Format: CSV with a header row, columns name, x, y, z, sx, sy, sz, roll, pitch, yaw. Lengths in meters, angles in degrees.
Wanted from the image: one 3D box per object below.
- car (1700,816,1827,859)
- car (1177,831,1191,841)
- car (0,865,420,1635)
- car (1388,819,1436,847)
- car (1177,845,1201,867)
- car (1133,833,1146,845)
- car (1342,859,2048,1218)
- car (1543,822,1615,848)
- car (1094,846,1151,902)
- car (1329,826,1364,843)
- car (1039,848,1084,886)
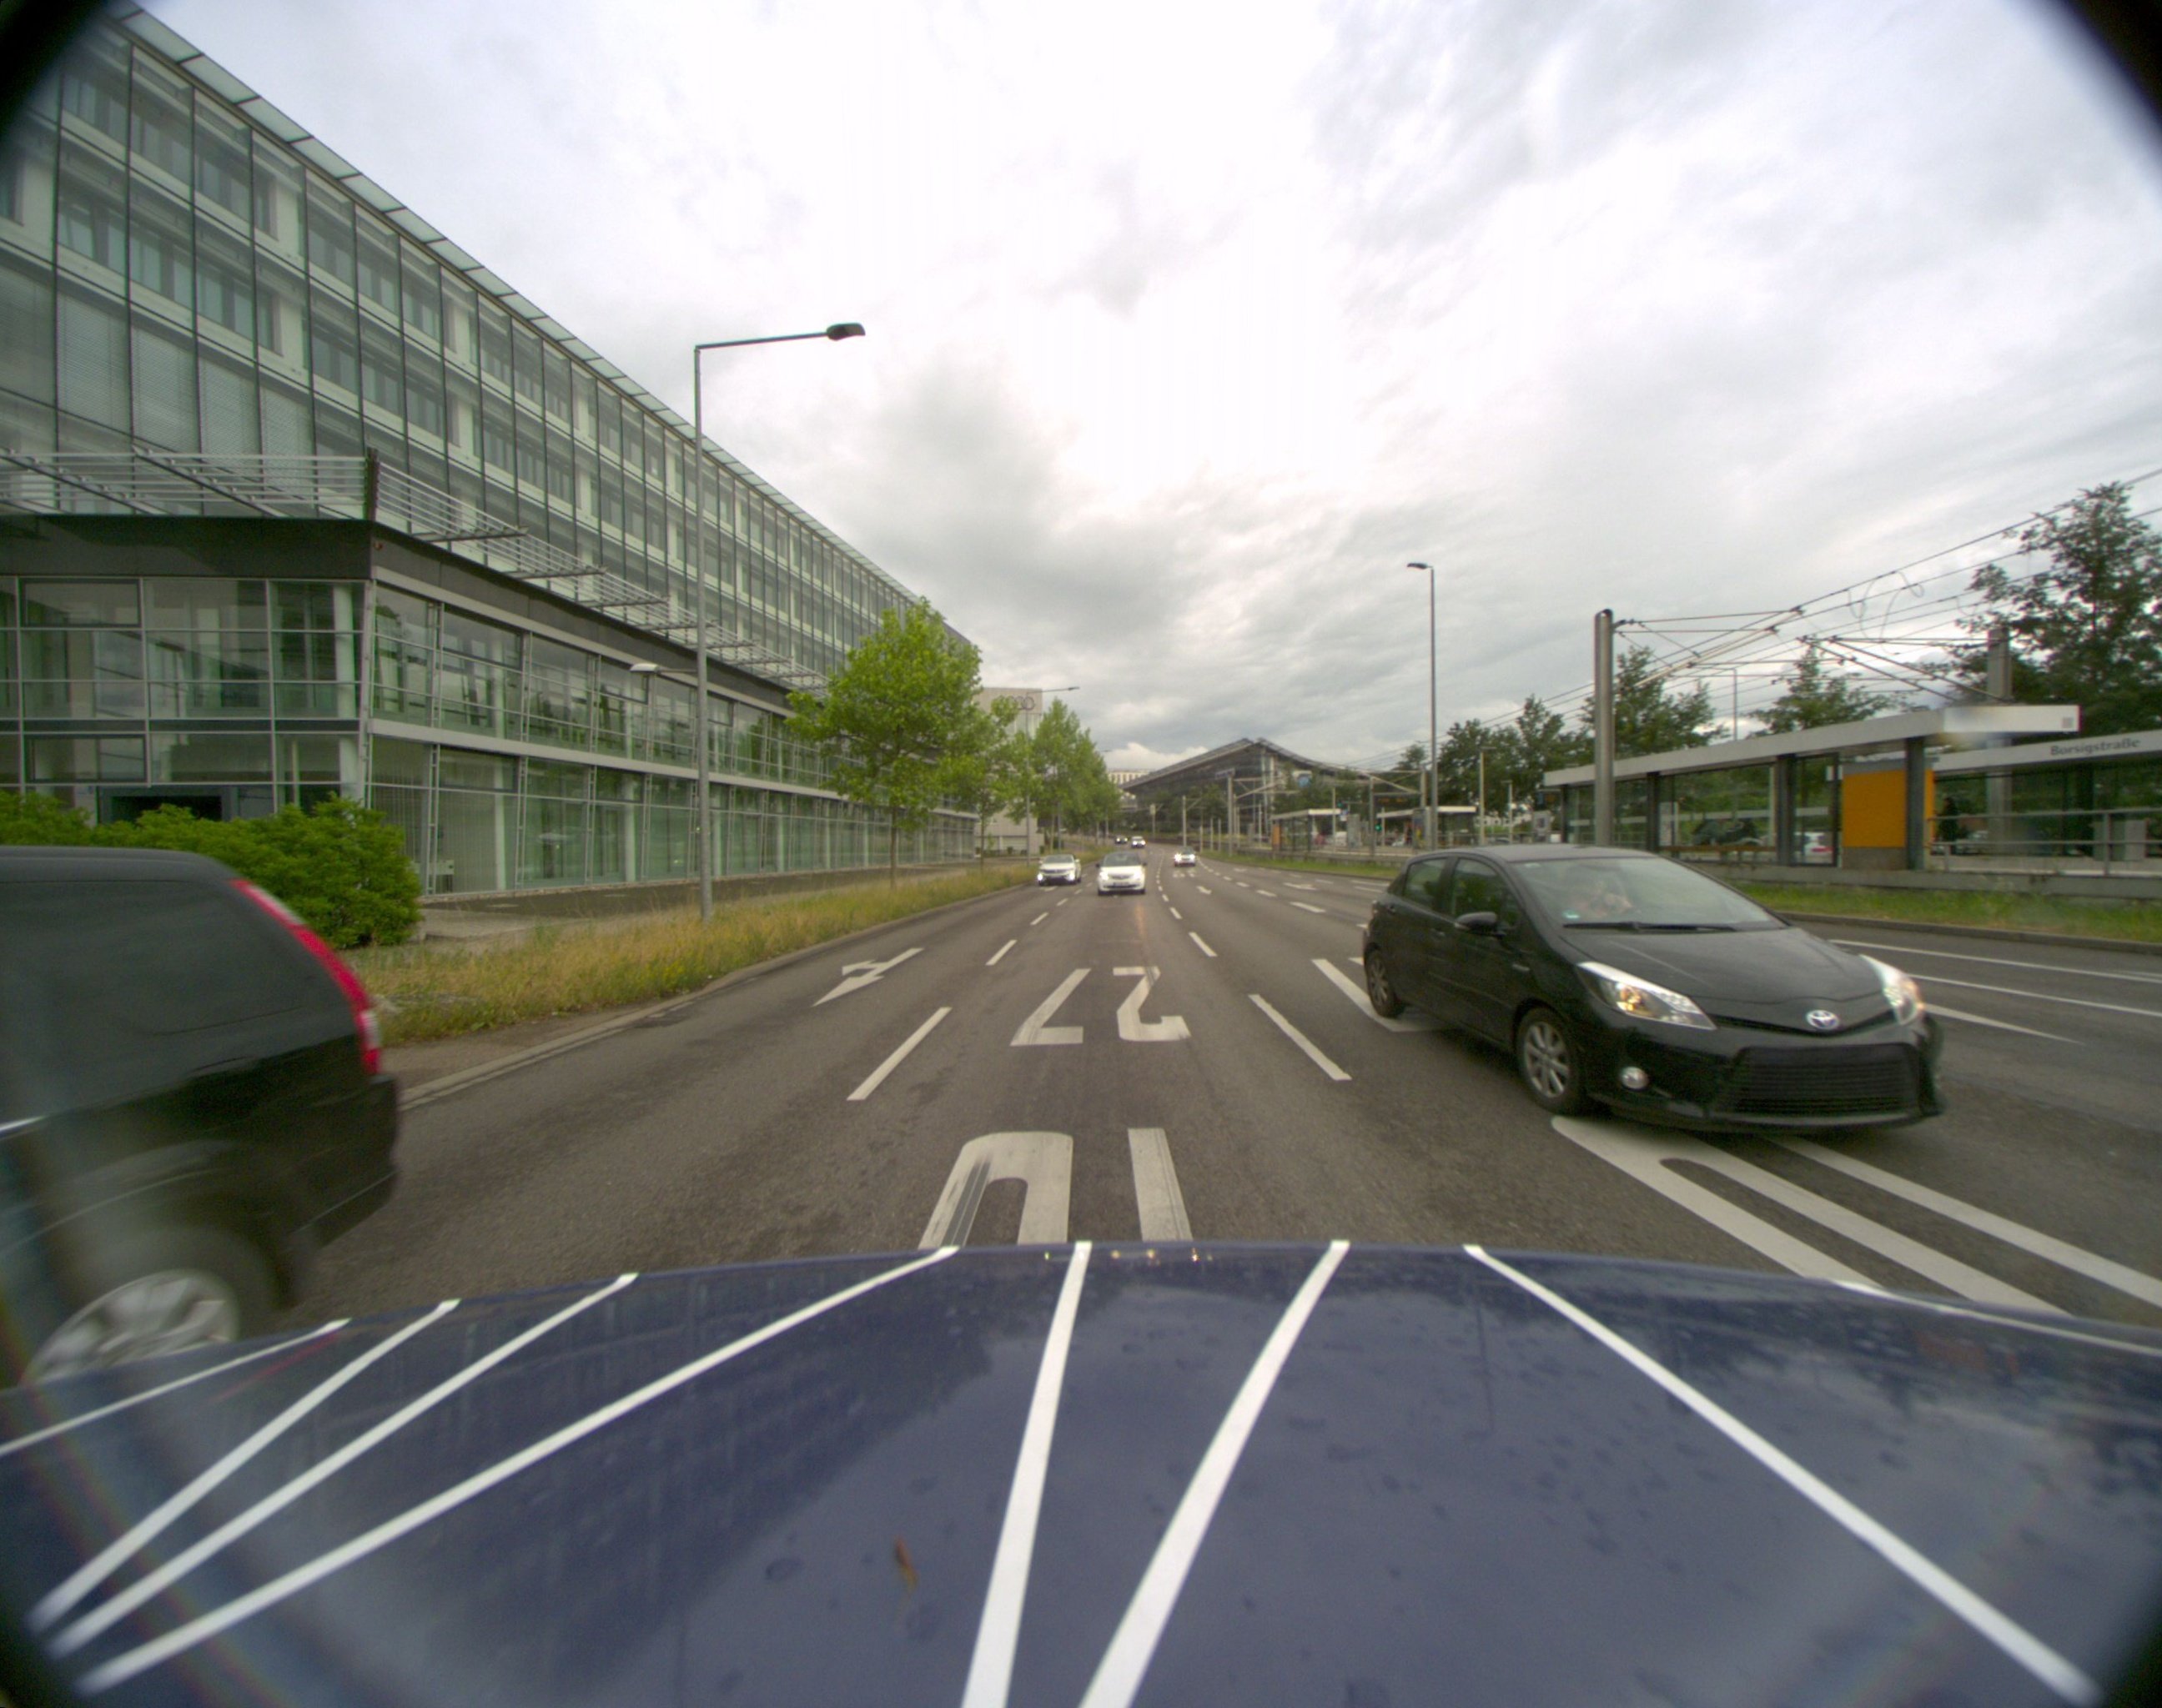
name,x,y,z,sx,sy,sz,roll,pitch,yaw
car,28.803,-0.713,32.246,1.532,1.657,4.267,-3,2,0
car,20.732,-3.572,152.732,1.999,1.837,3.998,-3,2,-2
car,-3.268,0.931,0.470,1.770,1.620,4.324,-3,1,1
car,28.980,-1.843,66.670,1.998,2.202,5.142,-3,2,1
car,8.302,0.137,58.358,1.739,1.470,4.001,-2,1,8
car,9.245,-2.431,120.748,1.829,1.701,4.152,-3,2,1
car,3.333,0.810,5.238,1.697,1.514,3.904,-1,0,0
car,35.803,-1.350,54.840,2.110,1.690,4.664,-3,2,0
car,1.441,0.654,27.399,1.805,1.713,3.999,-3,1,1
car,28.639,-2.117,82.110,1.999,1.721,5.028,-3,2,-1
car,-0.905,0.577,37.327,1.998,1.669,3.821,-1,2,1
